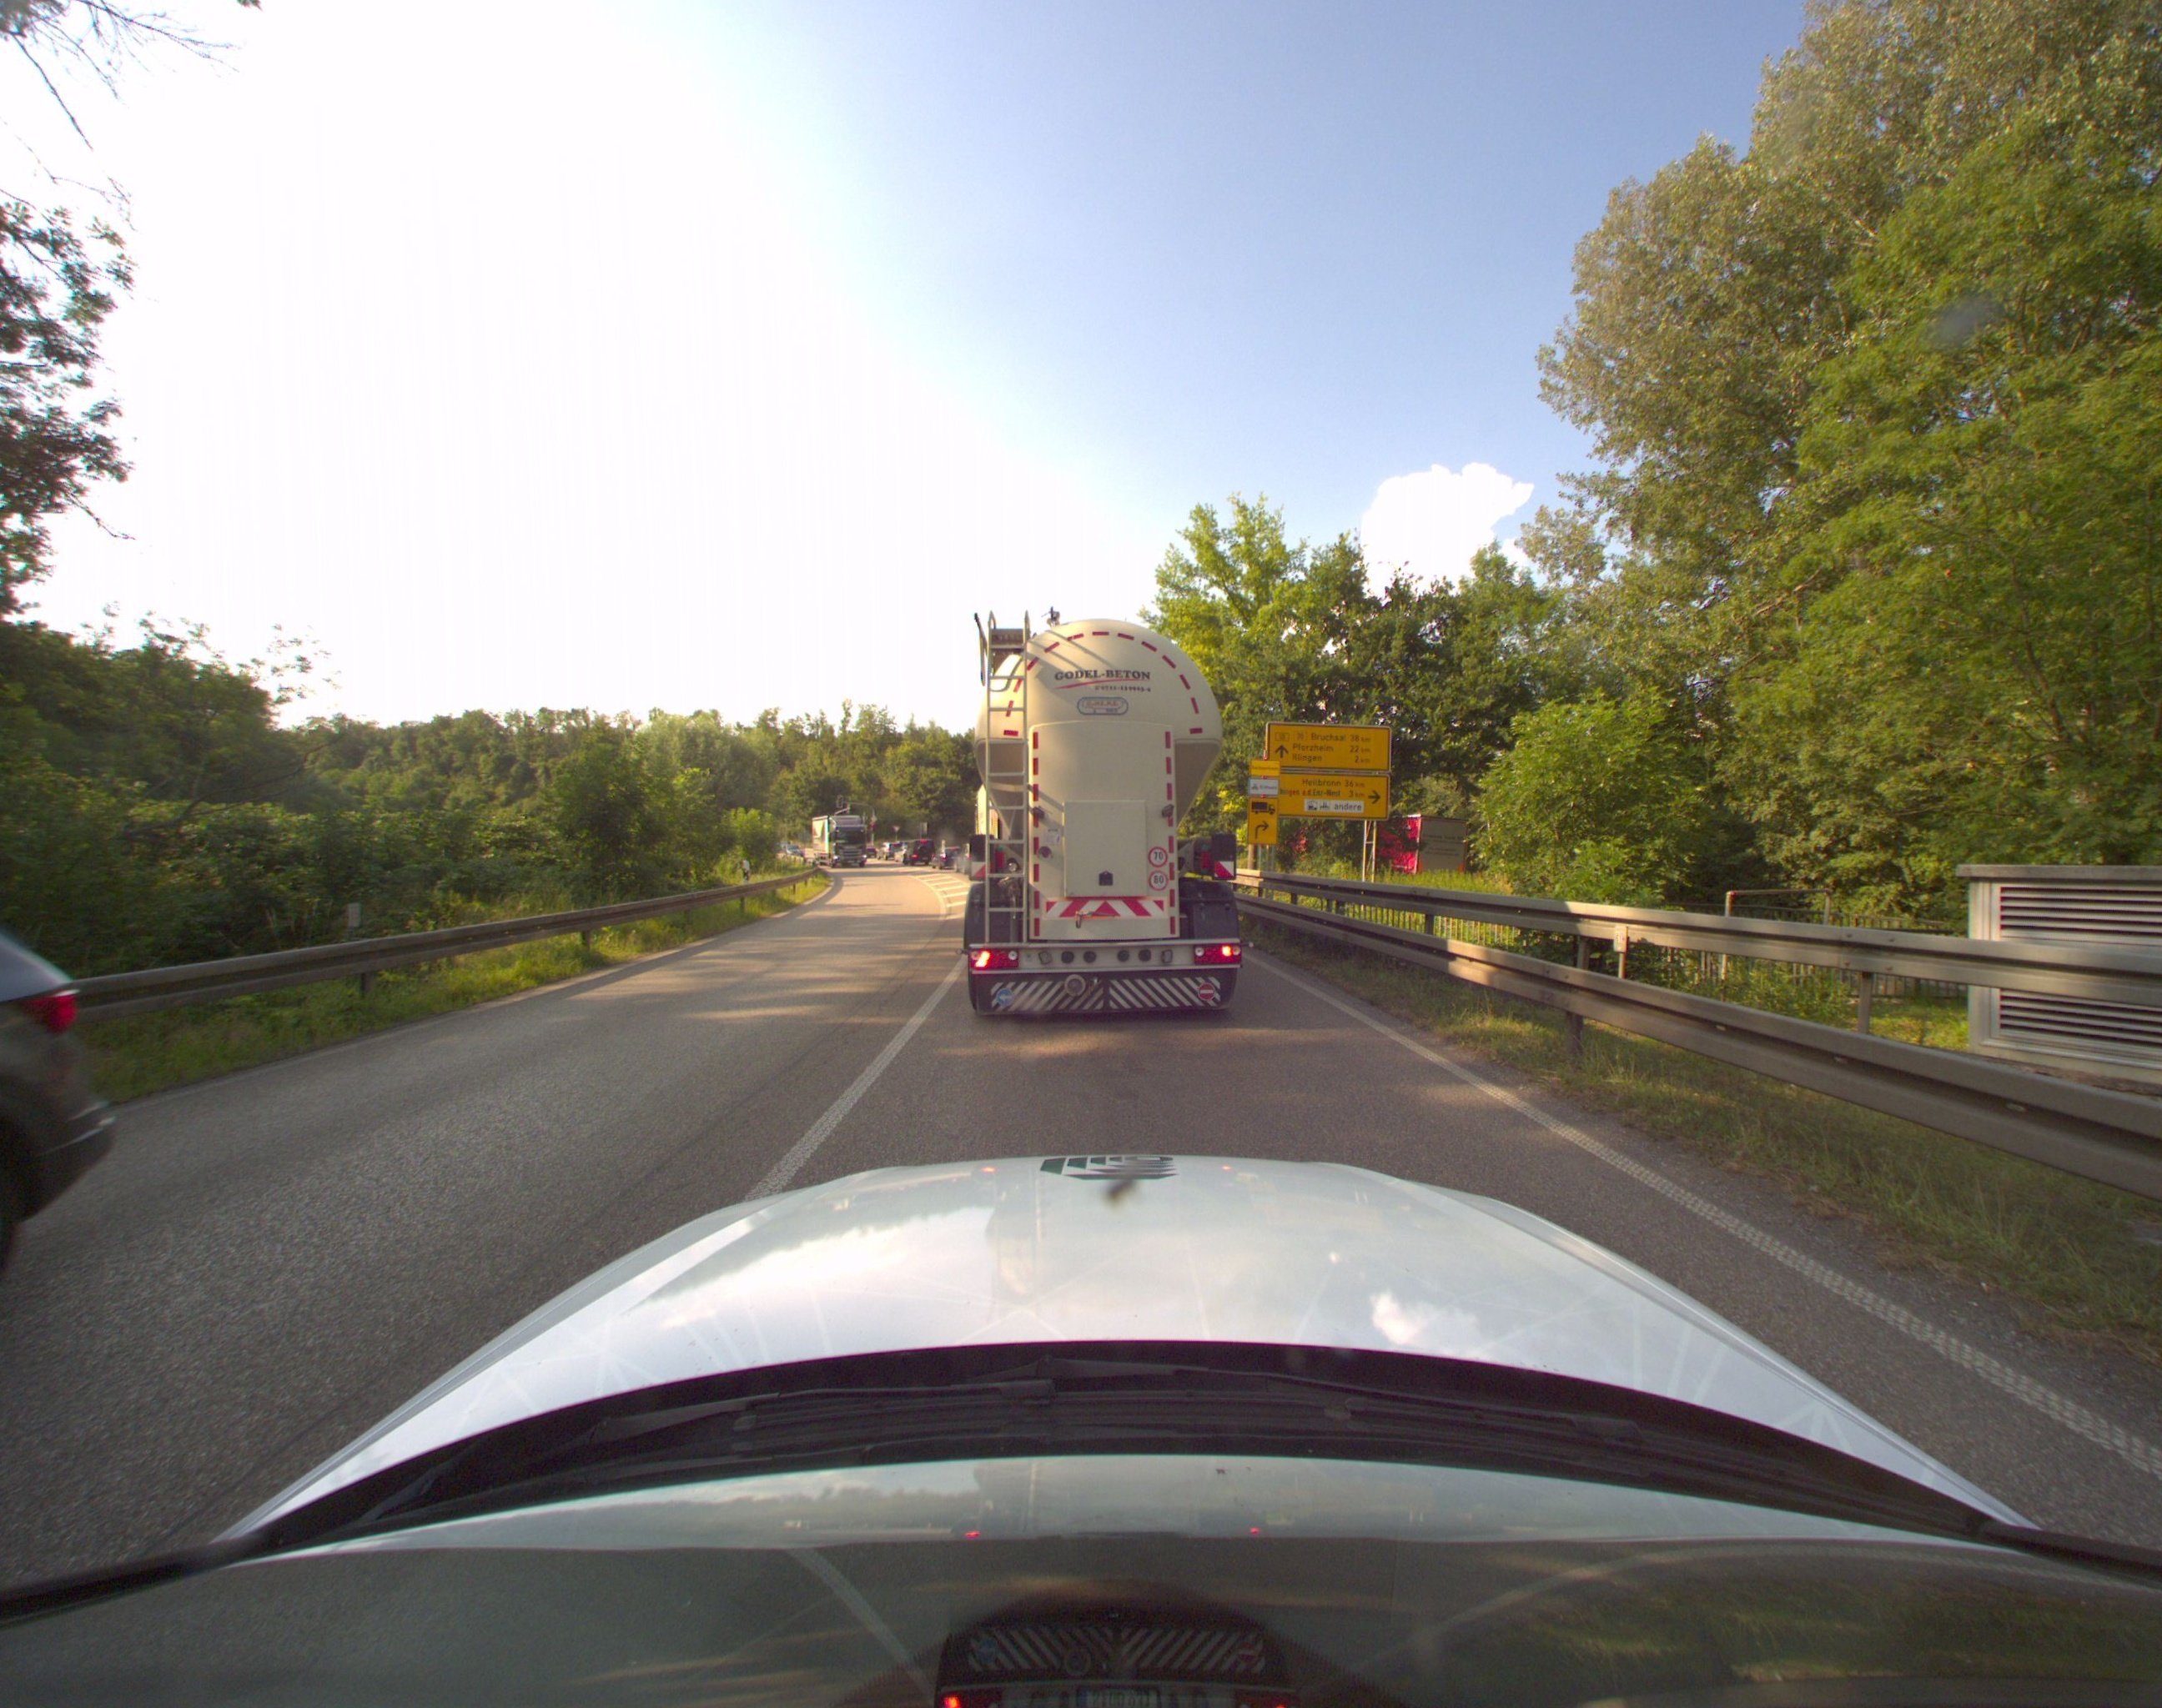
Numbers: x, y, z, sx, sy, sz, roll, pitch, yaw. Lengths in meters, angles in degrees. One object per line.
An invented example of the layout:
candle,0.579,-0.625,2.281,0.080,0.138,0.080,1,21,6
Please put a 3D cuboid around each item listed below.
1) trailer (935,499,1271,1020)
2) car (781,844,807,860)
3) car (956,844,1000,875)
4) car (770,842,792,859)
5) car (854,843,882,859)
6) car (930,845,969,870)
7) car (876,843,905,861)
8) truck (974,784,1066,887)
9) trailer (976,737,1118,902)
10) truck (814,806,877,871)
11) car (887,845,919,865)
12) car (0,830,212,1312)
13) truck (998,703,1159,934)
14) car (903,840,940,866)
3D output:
trailer,0.024,-0.815,11.828,2.879,4.454,9.597,0,0,-2
car,-29.533,-0.251,83.643,1.878,1.556,3.964,1,0,-28
car,-5.903,0.259,46.236,1.872,1.628,3.978,-2,1,-16
car,-34.259,-0.458,93.115,1.871,1.851,3.980,1,0,-15
car,-21.843,-0.333,83.419,1.878,1.565,3.965,2,0,-27
car,-8.758,0.229,54.156,1.873,1.564,3.974,-2,1,-19
car,-17.788,-0.196,76.035,1.876,1.595,3.968,2,0,-25
truck,-2.843,-0.724,35.816,3.450,4.086,6.469,1,0,-10
trailer,-1.733,-0.916,28.870,3.545,4.513,12.943,1,0,-9
truck,-18.470,-1.090,63.334,3.028,4.585,10.152,0,0,-26
car,-15.625,0.098,71.379,1.877,1.683,3.967,1,0,-25
car,-4.416,0.743,1.261,1.863,1.564,3.997,-1,1,-2
truck,-0.270,-0.636,17.316,2.819,4.035,5.884,0,0,-5
car,-12.381,-0.093,62.957,1.966,1.851,3.968,-2,1,-24
